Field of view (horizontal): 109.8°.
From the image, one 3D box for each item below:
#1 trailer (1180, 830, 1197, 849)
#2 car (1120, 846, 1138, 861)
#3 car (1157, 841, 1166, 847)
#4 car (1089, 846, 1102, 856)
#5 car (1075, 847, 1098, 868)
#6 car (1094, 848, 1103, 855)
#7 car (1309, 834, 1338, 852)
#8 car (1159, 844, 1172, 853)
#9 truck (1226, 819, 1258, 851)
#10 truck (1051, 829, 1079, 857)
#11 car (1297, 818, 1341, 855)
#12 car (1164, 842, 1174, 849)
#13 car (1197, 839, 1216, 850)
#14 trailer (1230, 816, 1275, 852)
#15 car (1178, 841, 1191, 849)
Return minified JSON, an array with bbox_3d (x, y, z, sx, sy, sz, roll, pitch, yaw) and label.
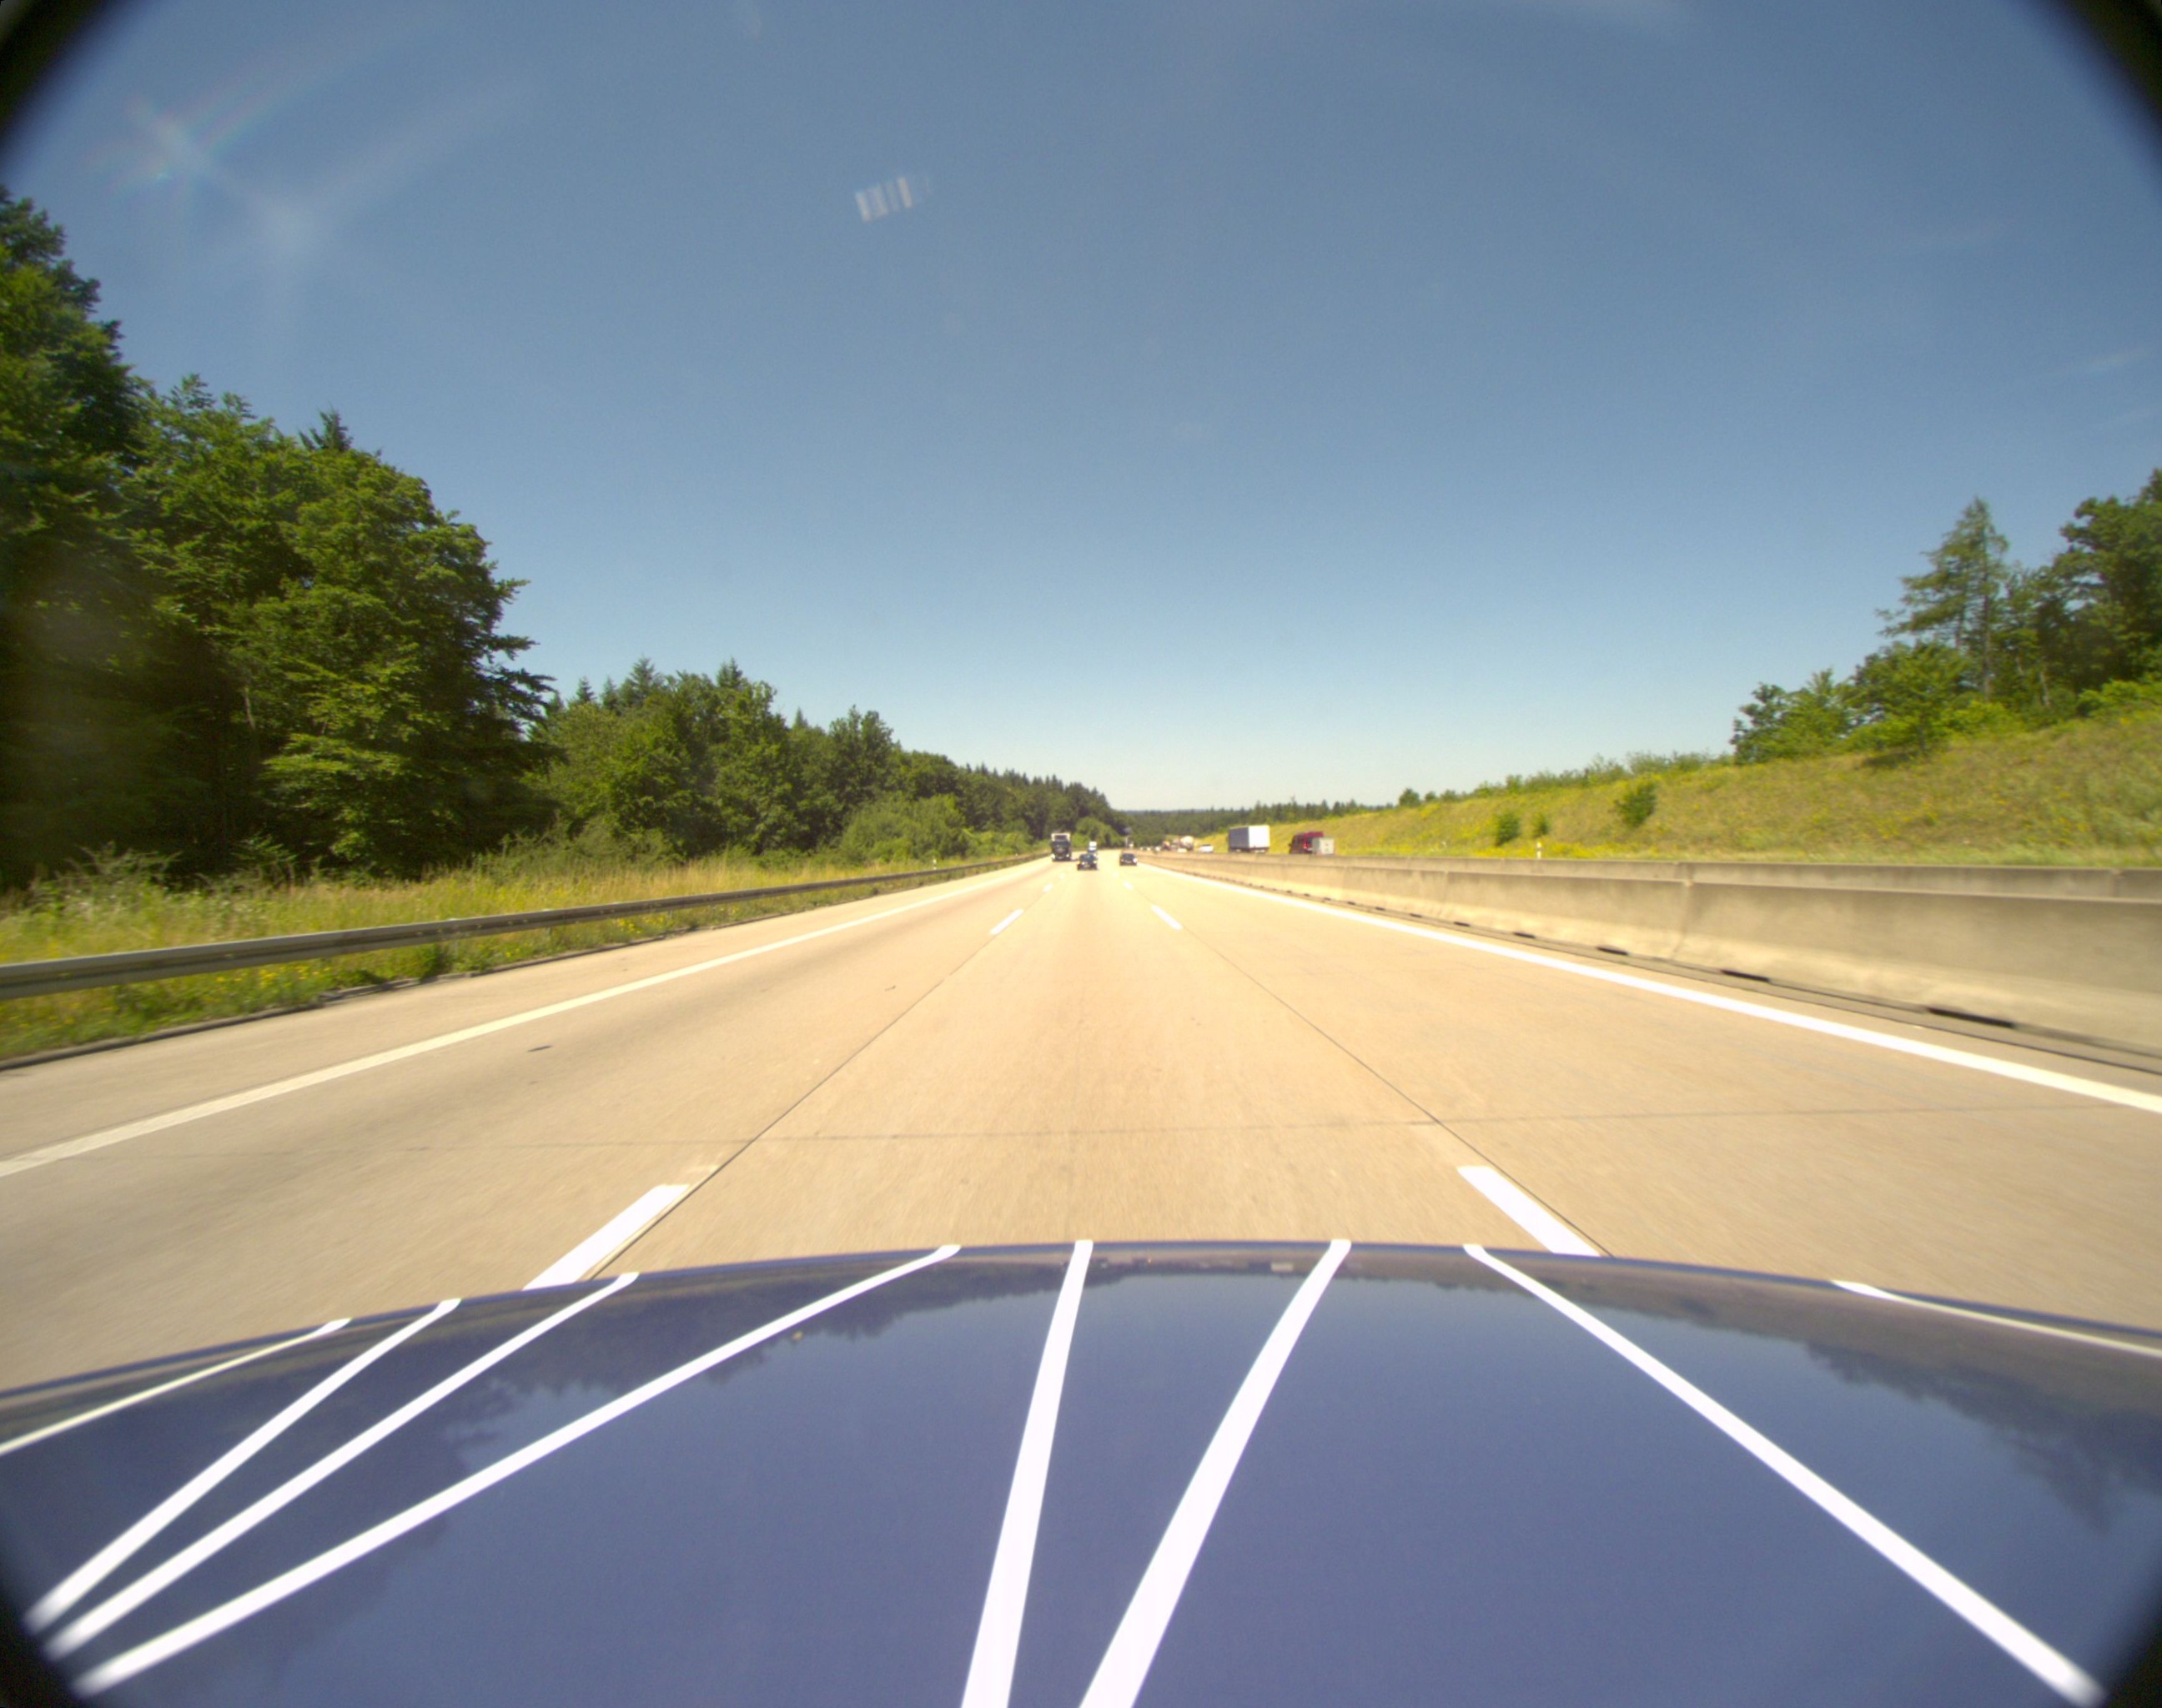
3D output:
[{"bbox_3d":[25.030,-3.386,177.383,2.940,4.145,9.333,-2,1,1],"label":"trailer"},{"bbox_3d":[5.231,-0.106,82.439,1.842,1.547,4.000,-2,1,3],"label":"car"},{"bbox_3d":[21.948,-2.617,206.305,1.998,1.574,4.179,-1,1,1],"label":"car"},{"bbox_3d":[2.518,-0.495,130.945,1.998,1.694,4.399,-2,1,2],"label":"car"},{"bbox_3d":[0.538,0.265,68.408,1.930,1.694,4.400,-2,1,2],"label":"car"},{"bbox_3d":[4.433,-0.643,190.215,1.842,1.547,4.001,-2,1,5],"label":"car"},{"bbox_3d":[22.351,-1.032,70.153,1.618,1.591,3.576,0,1,1],"label":"car"},{"bbox_3d":[15.669,-1.083,141.118,1.998,1.574,4.402,-1,1,1],"label":"car"},{"bbox_3d":[23.416,-2.749,110.564,3.264,4.479,6.574,-2,1,1],"label":"truck"},{"bbox_3d":[-2.220,-1.641,112.707,3.166,3.994,10.609,0,1,4],"label":"truck"},{"bbox_3d":[22.344,-1.618,71.702,1.998,3.223,7.060,-1,1,1],"label":"car"},{"bbox_3d":[20.416,-1.991,176.475,1.998,1.574,4.430,-1,1,1],"label":"car"},{"bbox_3d":[19.154,-1.493,116.080,1.998,1.574,5.518,-1,1,1],"label":"car"},{"bbox_3d":[23.279,-2.636,104.099,3.264,4.479,13.737,-2,1,1],"label":"trailer"},{"bbox_3d":[20.360,-1.840,150.072,1.998,1.574,4.529,-1,1,1],"label":"car"}]
